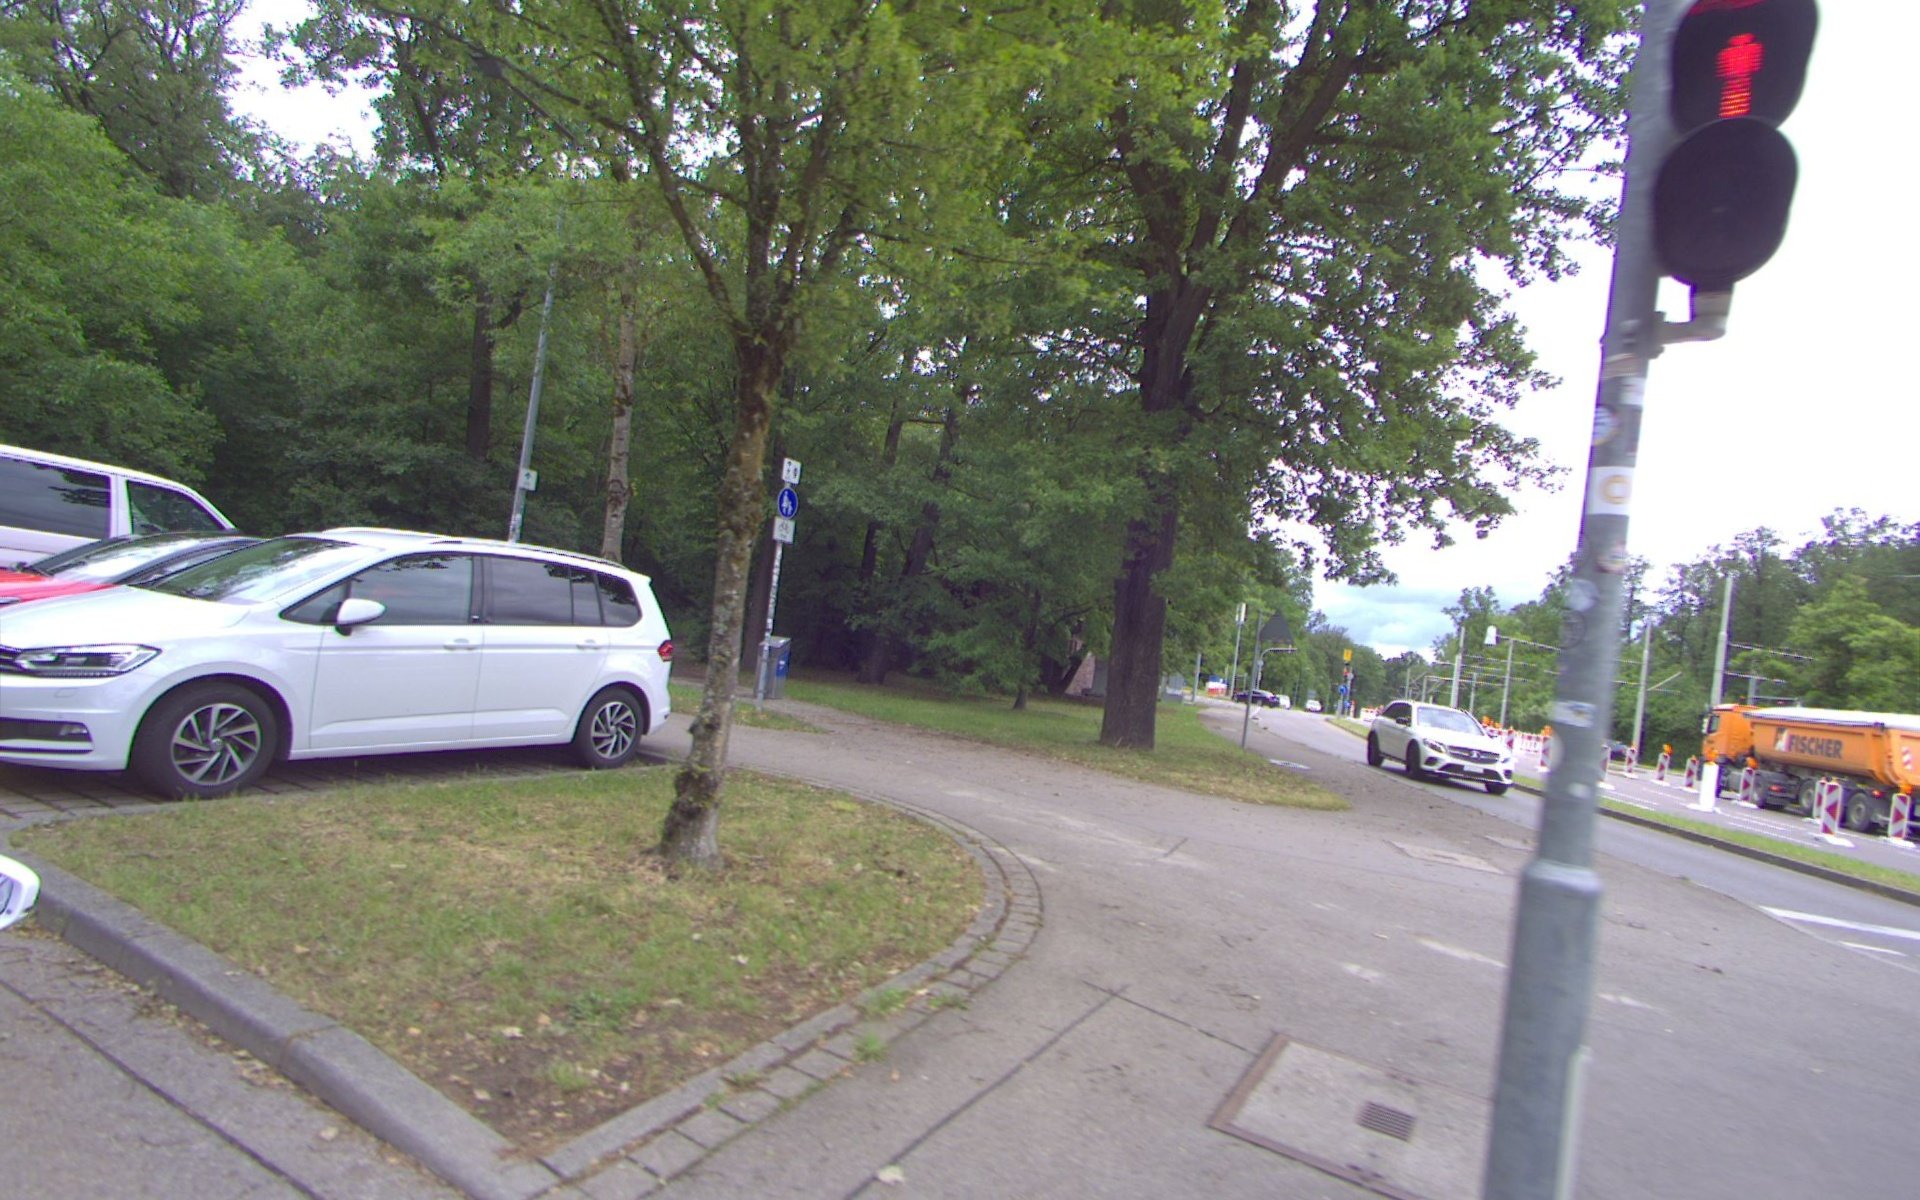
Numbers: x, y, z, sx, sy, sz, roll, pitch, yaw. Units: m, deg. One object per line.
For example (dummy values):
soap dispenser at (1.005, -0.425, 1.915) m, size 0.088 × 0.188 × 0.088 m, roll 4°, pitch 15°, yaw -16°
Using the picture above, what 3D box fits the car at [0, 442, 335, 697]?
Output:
car at (-8.742, -0.369, 9.143) m, size 2.045 × 2.043 × 4.669 m, roll 9°, pitch -3°, yaw 23°

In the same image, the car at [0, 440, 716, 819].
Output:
car at (-4.144, 0.236, 7.027) m, size 2.128 × 1.713 × 4.531 m, roll 6°, pitch -2°, yaw 28°

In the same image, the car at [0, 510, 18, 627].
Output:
car at (-13.334, -0.635, 10.928) m, size 1.843 × 1.499 × 4.005 m, roll 6°, pitch -4°, yaw 21°

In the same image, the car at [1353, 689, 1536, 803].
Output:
car at (10.383, 3.061, 22.005) m, size 1.963 × 1.768 × 4.586 m, roll 10°, pitch -2°, yaw 7°

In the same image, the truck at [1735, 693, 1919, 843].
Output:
truck at (26.483, 4.802, 29.543) m, size 2.814 × 3.555 × 8.254 m, roll 8°, pitch -1°, yaw 18°

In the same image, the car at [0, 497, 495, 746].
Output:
car at (-6.245, 0.205, 8.136) m, size 1.913 × 1.572 × 4.009 m, roll 8°, pitch -3°, yaw 29°

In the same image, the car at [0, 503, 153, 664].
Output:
car at (-11.105, -0.363, 10.414) m, size 1.812 × 1.571 × 3.739 m, roll 9°, pitch -2°, yaw 21°

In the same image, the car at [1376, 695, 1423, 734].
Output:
car at (24.557, 6.378, 56.334) m, size 1.768 × 1.757 × 3.709 m, roll 10°, pitch -2°, yaw 18°
